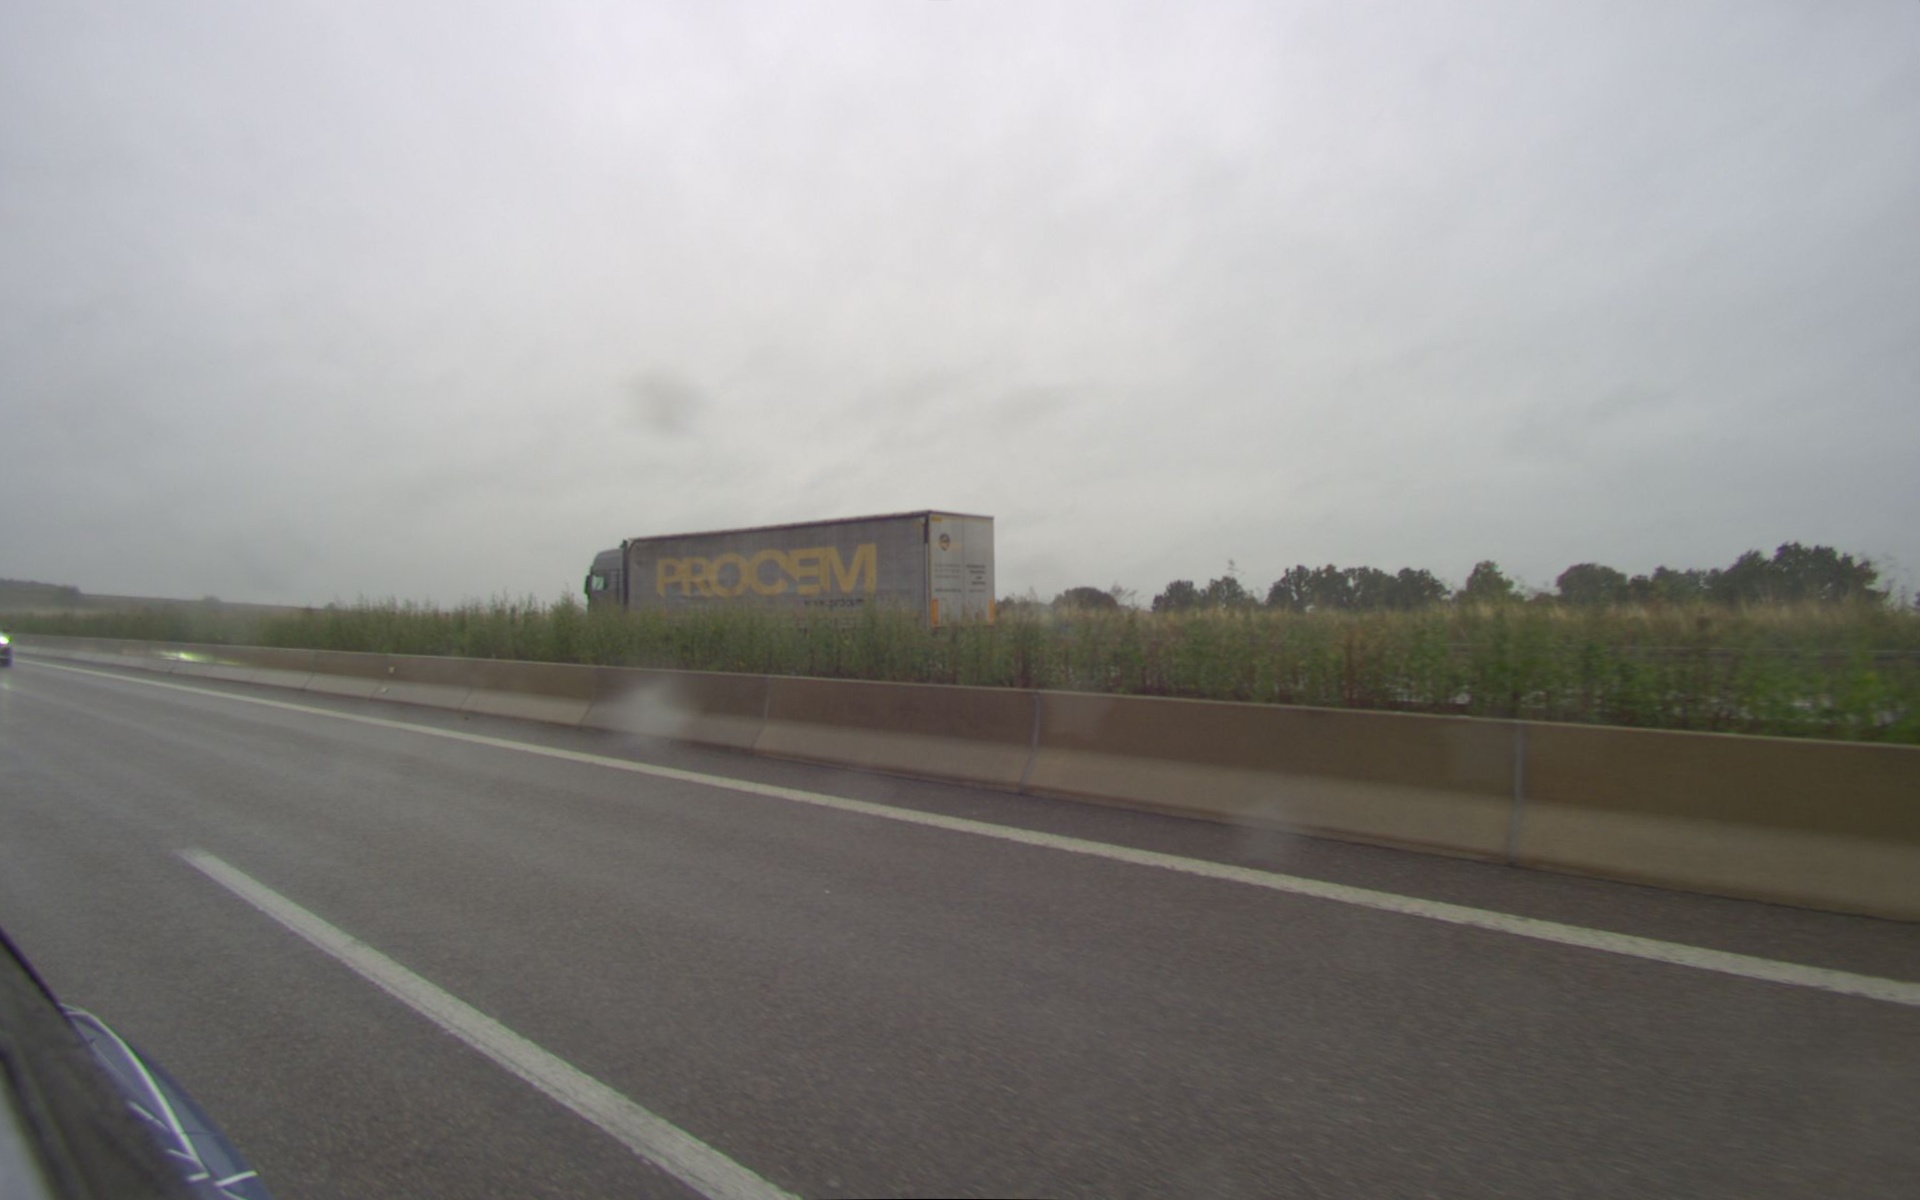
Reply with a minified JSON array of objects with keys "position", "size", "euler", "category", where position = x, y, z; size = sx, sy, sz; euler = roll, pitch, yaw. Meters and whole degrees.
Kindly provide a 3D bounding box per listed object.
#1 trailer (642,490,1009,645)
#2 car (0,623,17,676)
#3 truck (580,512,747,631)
[{"position":[-4.410,-0.831,29.153],"size":[12.484,3.667,2.961],"euler":[1,1,41],"category":"trailer"},{"position":[-31.629,1.554,32.077],"size":[3.995,1.630,1.974],"euler":[-1,-1,39],"category":"car"},{"position":[-10.030,-0.903,34.035],"size":[5.461,3.649,2.919],"euler":[1,0,41],"category":"truck"}]
